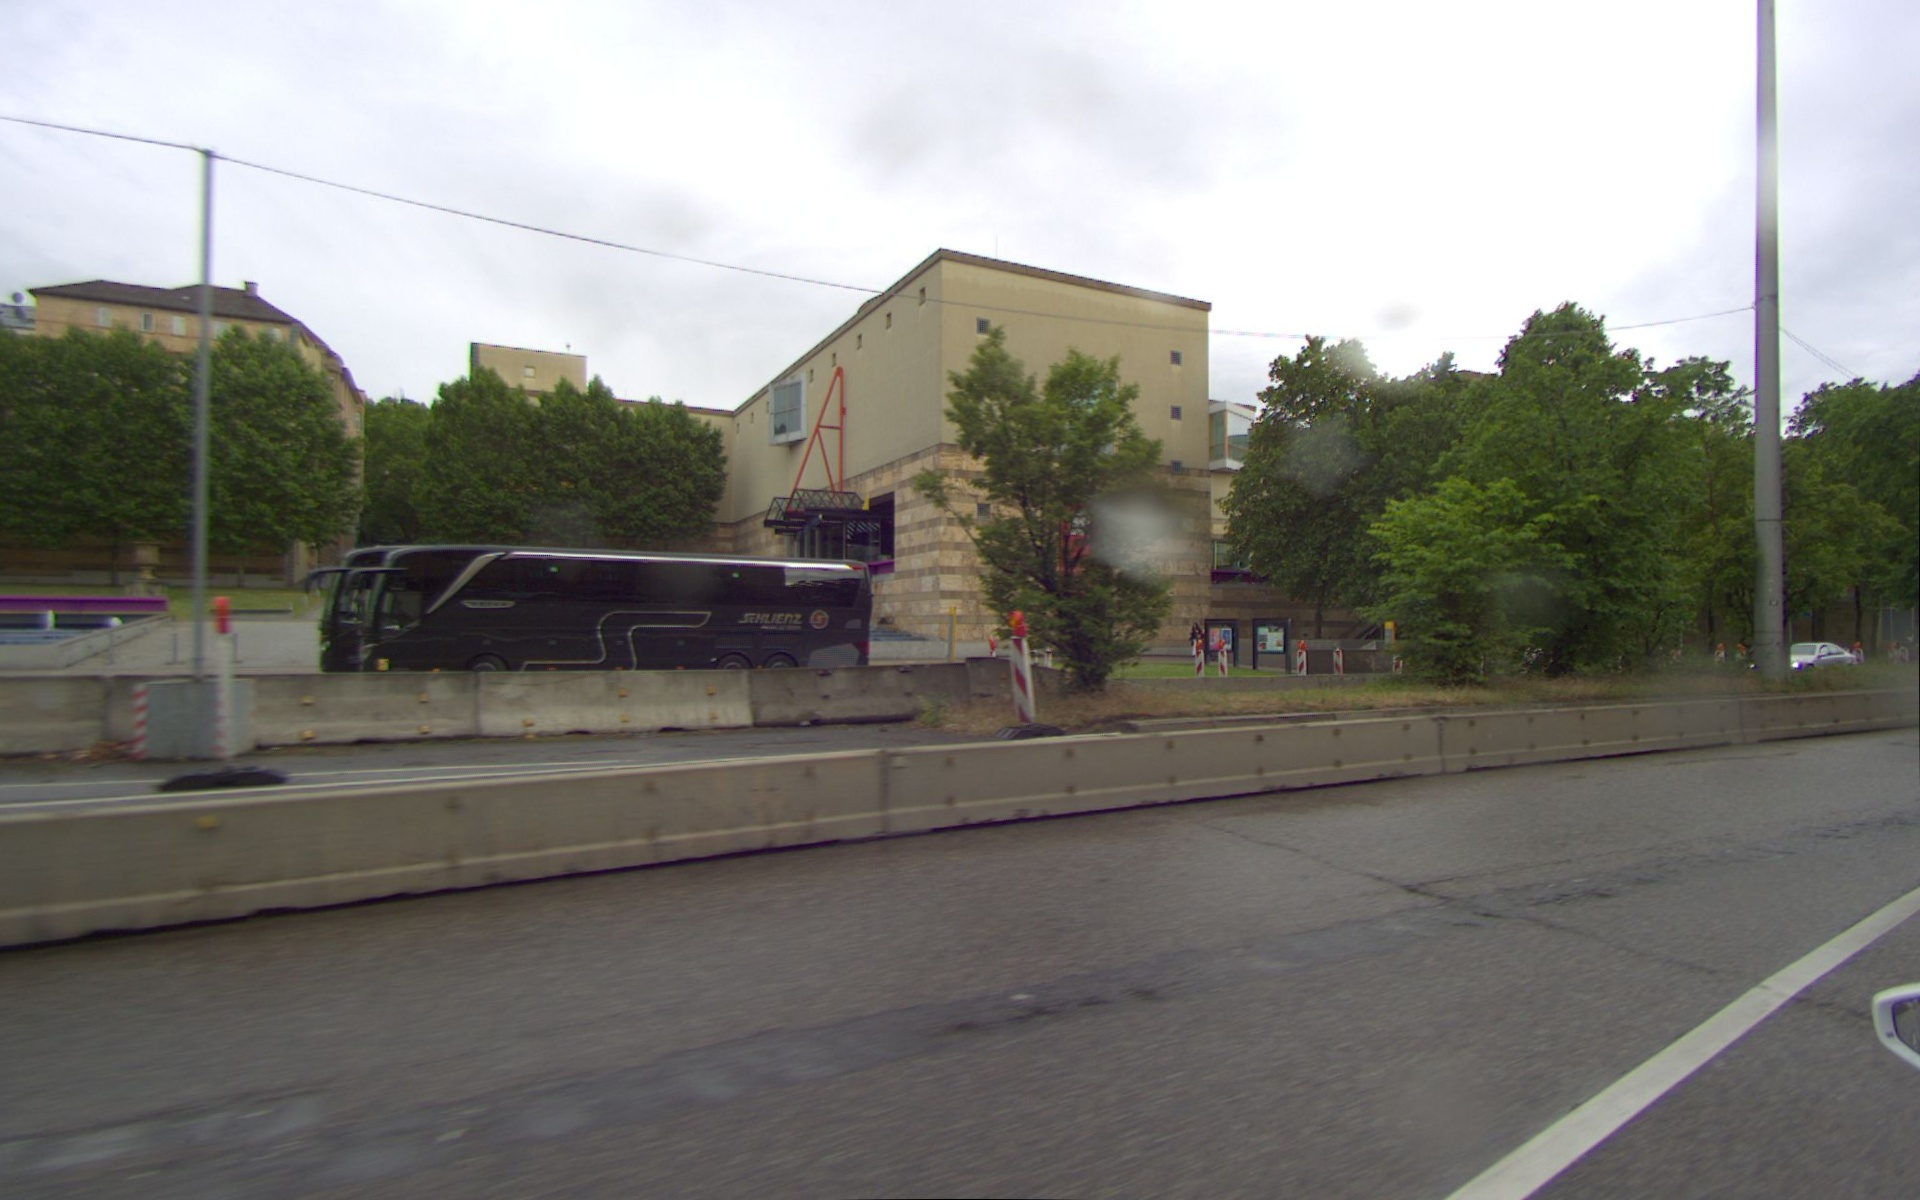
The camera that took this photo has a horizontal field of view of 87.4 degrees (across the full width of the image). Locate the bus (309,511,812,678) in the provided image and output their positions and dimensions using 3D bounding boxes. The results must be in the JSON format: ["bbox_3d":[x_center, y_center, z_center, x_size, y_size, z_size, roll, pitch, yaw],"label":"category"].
[{"bbox_3d":[-11.358,0.002,30.172,13.311,4.309,3.109,1,0,-25],"label":"bus"}]

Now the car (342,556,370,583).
[{"bbox_3d":[-49.745,-2.462,82.812,1.680,1.817,3.935,2,-4,-28],"label":"car"}]

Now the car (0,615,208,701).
[{"bbox_3d":[-16.425,1.091,19.108,3.178,1.520,1.584,2,-3,-31],"label":"car"}]

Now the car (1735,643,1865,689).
[{"bbox_3d":[31.700,2.489,37.898,4.745,1.646,1.987,2,-4,-26],"label":"car"}]

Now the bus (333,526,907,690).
[{"bbox_3d":[-8.704,0.345,27.871,14.398,3.862,2.796,1,0,-25],"label":"bus"}]

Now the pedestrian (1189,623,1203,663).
[{"bbox_3d":[12.098,2.212,51.566,0.505,2.039,0.476,2,-4,-28],"label":"pedestrian"}]
